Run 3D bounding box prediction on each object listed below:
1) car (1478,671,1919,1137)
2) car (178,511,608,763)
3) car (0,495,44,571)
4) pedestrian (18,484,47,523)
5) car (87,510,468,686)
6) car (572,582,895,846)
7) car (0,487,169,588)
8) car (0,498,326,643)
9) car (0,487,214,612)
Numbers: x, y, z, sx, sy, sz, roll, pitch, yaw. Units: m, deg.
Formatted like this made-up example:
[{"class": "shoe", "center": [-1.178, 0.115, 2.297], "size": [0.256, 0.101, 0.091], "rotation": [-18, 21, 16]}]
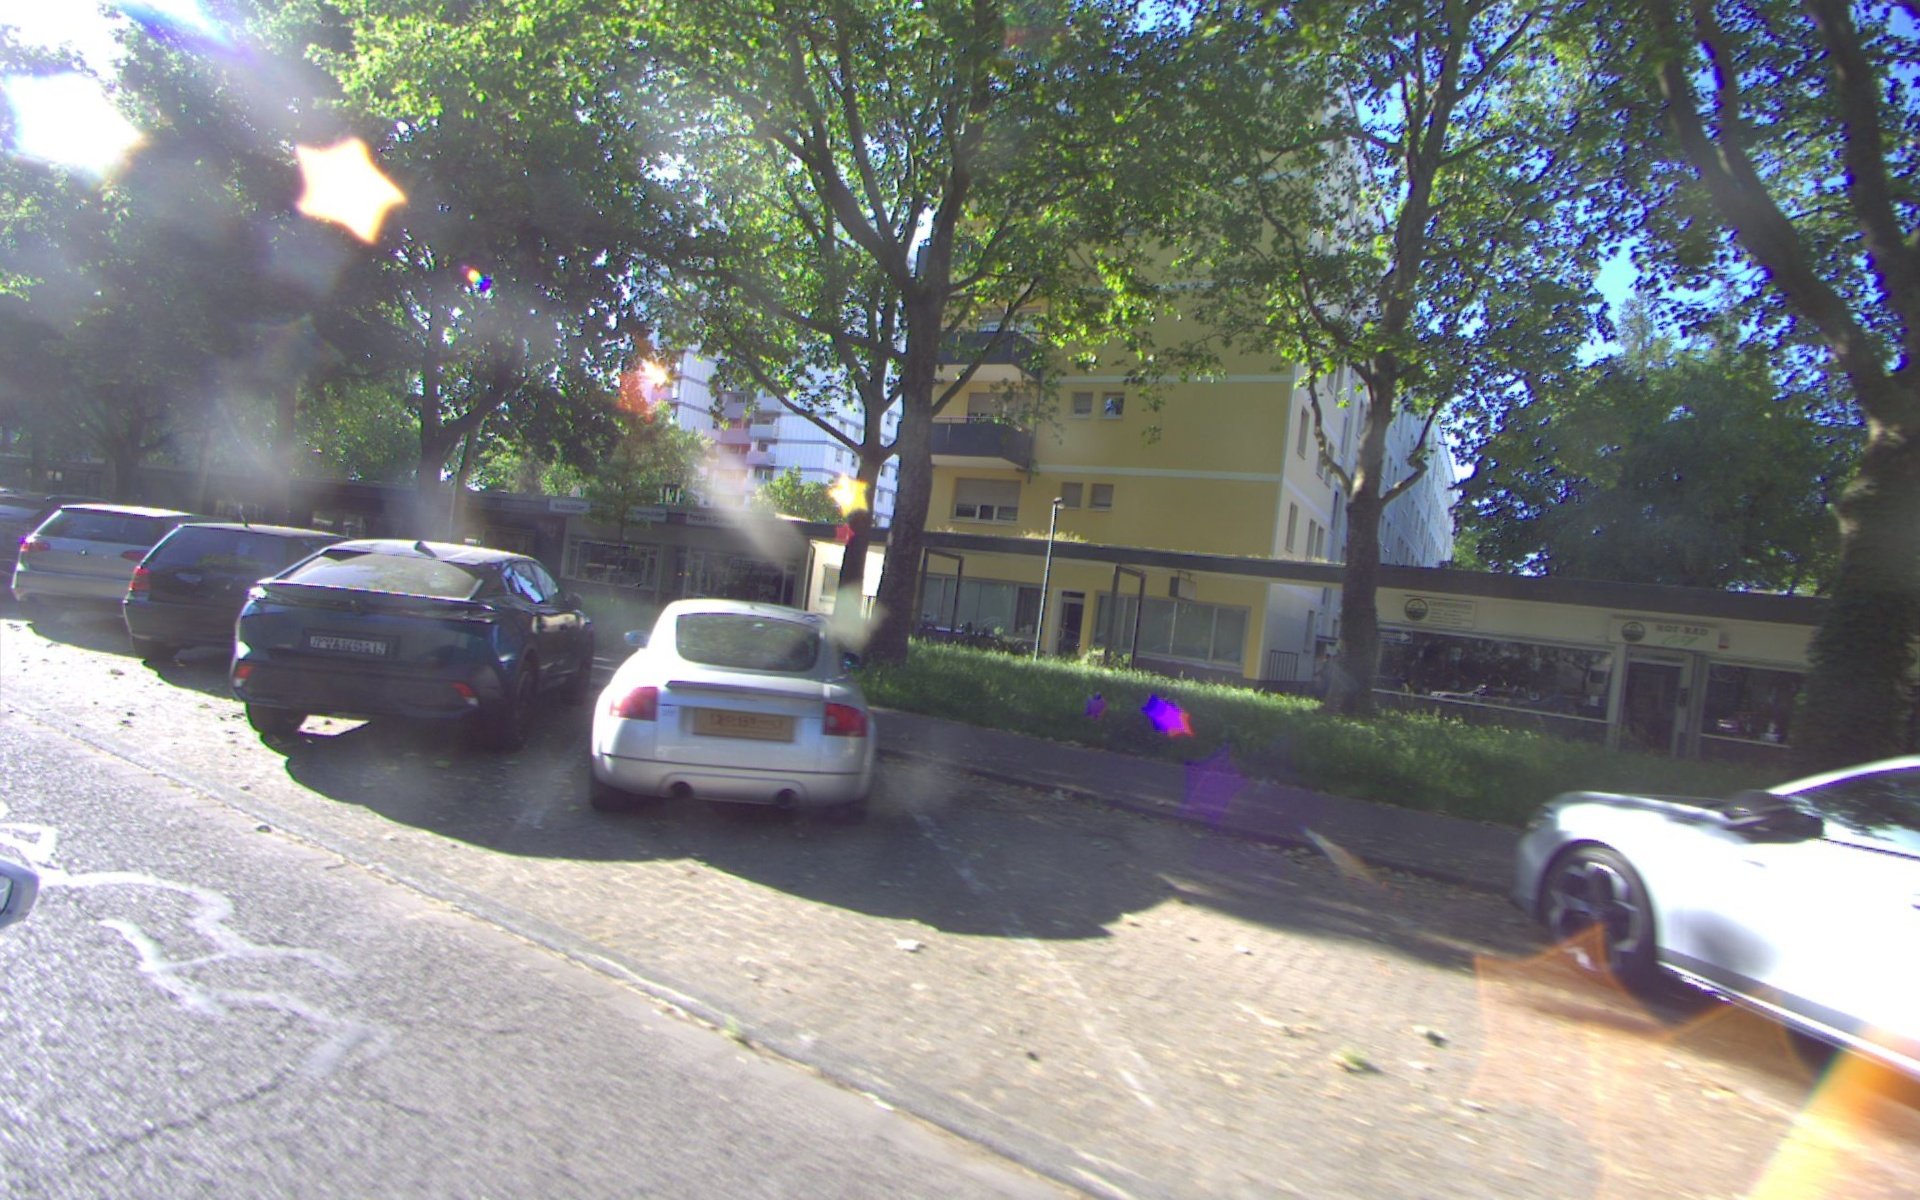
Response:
[{"class": "car", "center": [4.404, 1.303, 3.805], "size": [1.826, 1.462, 4.483], "rotation": [6, 0, -11]}, {"class": "car", "center": [-4.365, 0.206, 8.610], "size": [1.826, 1.442, 4.319], "rotation": [6, 0, -11]}, {"class": "car", "center": [-19.378, -1.402, 18.295], "size": [1.948, 1.477, 4.612], "rotation": [7, -1, -14]}, {"class": "pedestrian", "center": [-53.635, -5.571, 58.176], "size": [0.738, 2.038, 0.820], "rotation": [7, 0, -8]}, {"class": "car", "center": [-7.428, -0.042, 11.608], "size": [1.887, 1.469, 4.452], "rotation": [5, 0, -10]}, {"class": "car", "center": [-1.677, 0.632, 7.819], "size": [1.664, 1.314, 4.319], "rotation": [6, 0, -11]}, {"class": "car", "center": [-16.455, -1.121, 17.805], "size": [1.826, 1.589, 4.615], "rotation": [7, 0, -11]}, {"class": "car", "center": [-10.453, -0.384, 13.411], "size": [1.888, 1.469, 4.450], "rotation": [5, 0, -12]}, {"class": "car", "center": [-13.704, -0.806, 15.400], "size": [1.827, 1.590, 4.611], "rotation": [6, 0, -13]}]
